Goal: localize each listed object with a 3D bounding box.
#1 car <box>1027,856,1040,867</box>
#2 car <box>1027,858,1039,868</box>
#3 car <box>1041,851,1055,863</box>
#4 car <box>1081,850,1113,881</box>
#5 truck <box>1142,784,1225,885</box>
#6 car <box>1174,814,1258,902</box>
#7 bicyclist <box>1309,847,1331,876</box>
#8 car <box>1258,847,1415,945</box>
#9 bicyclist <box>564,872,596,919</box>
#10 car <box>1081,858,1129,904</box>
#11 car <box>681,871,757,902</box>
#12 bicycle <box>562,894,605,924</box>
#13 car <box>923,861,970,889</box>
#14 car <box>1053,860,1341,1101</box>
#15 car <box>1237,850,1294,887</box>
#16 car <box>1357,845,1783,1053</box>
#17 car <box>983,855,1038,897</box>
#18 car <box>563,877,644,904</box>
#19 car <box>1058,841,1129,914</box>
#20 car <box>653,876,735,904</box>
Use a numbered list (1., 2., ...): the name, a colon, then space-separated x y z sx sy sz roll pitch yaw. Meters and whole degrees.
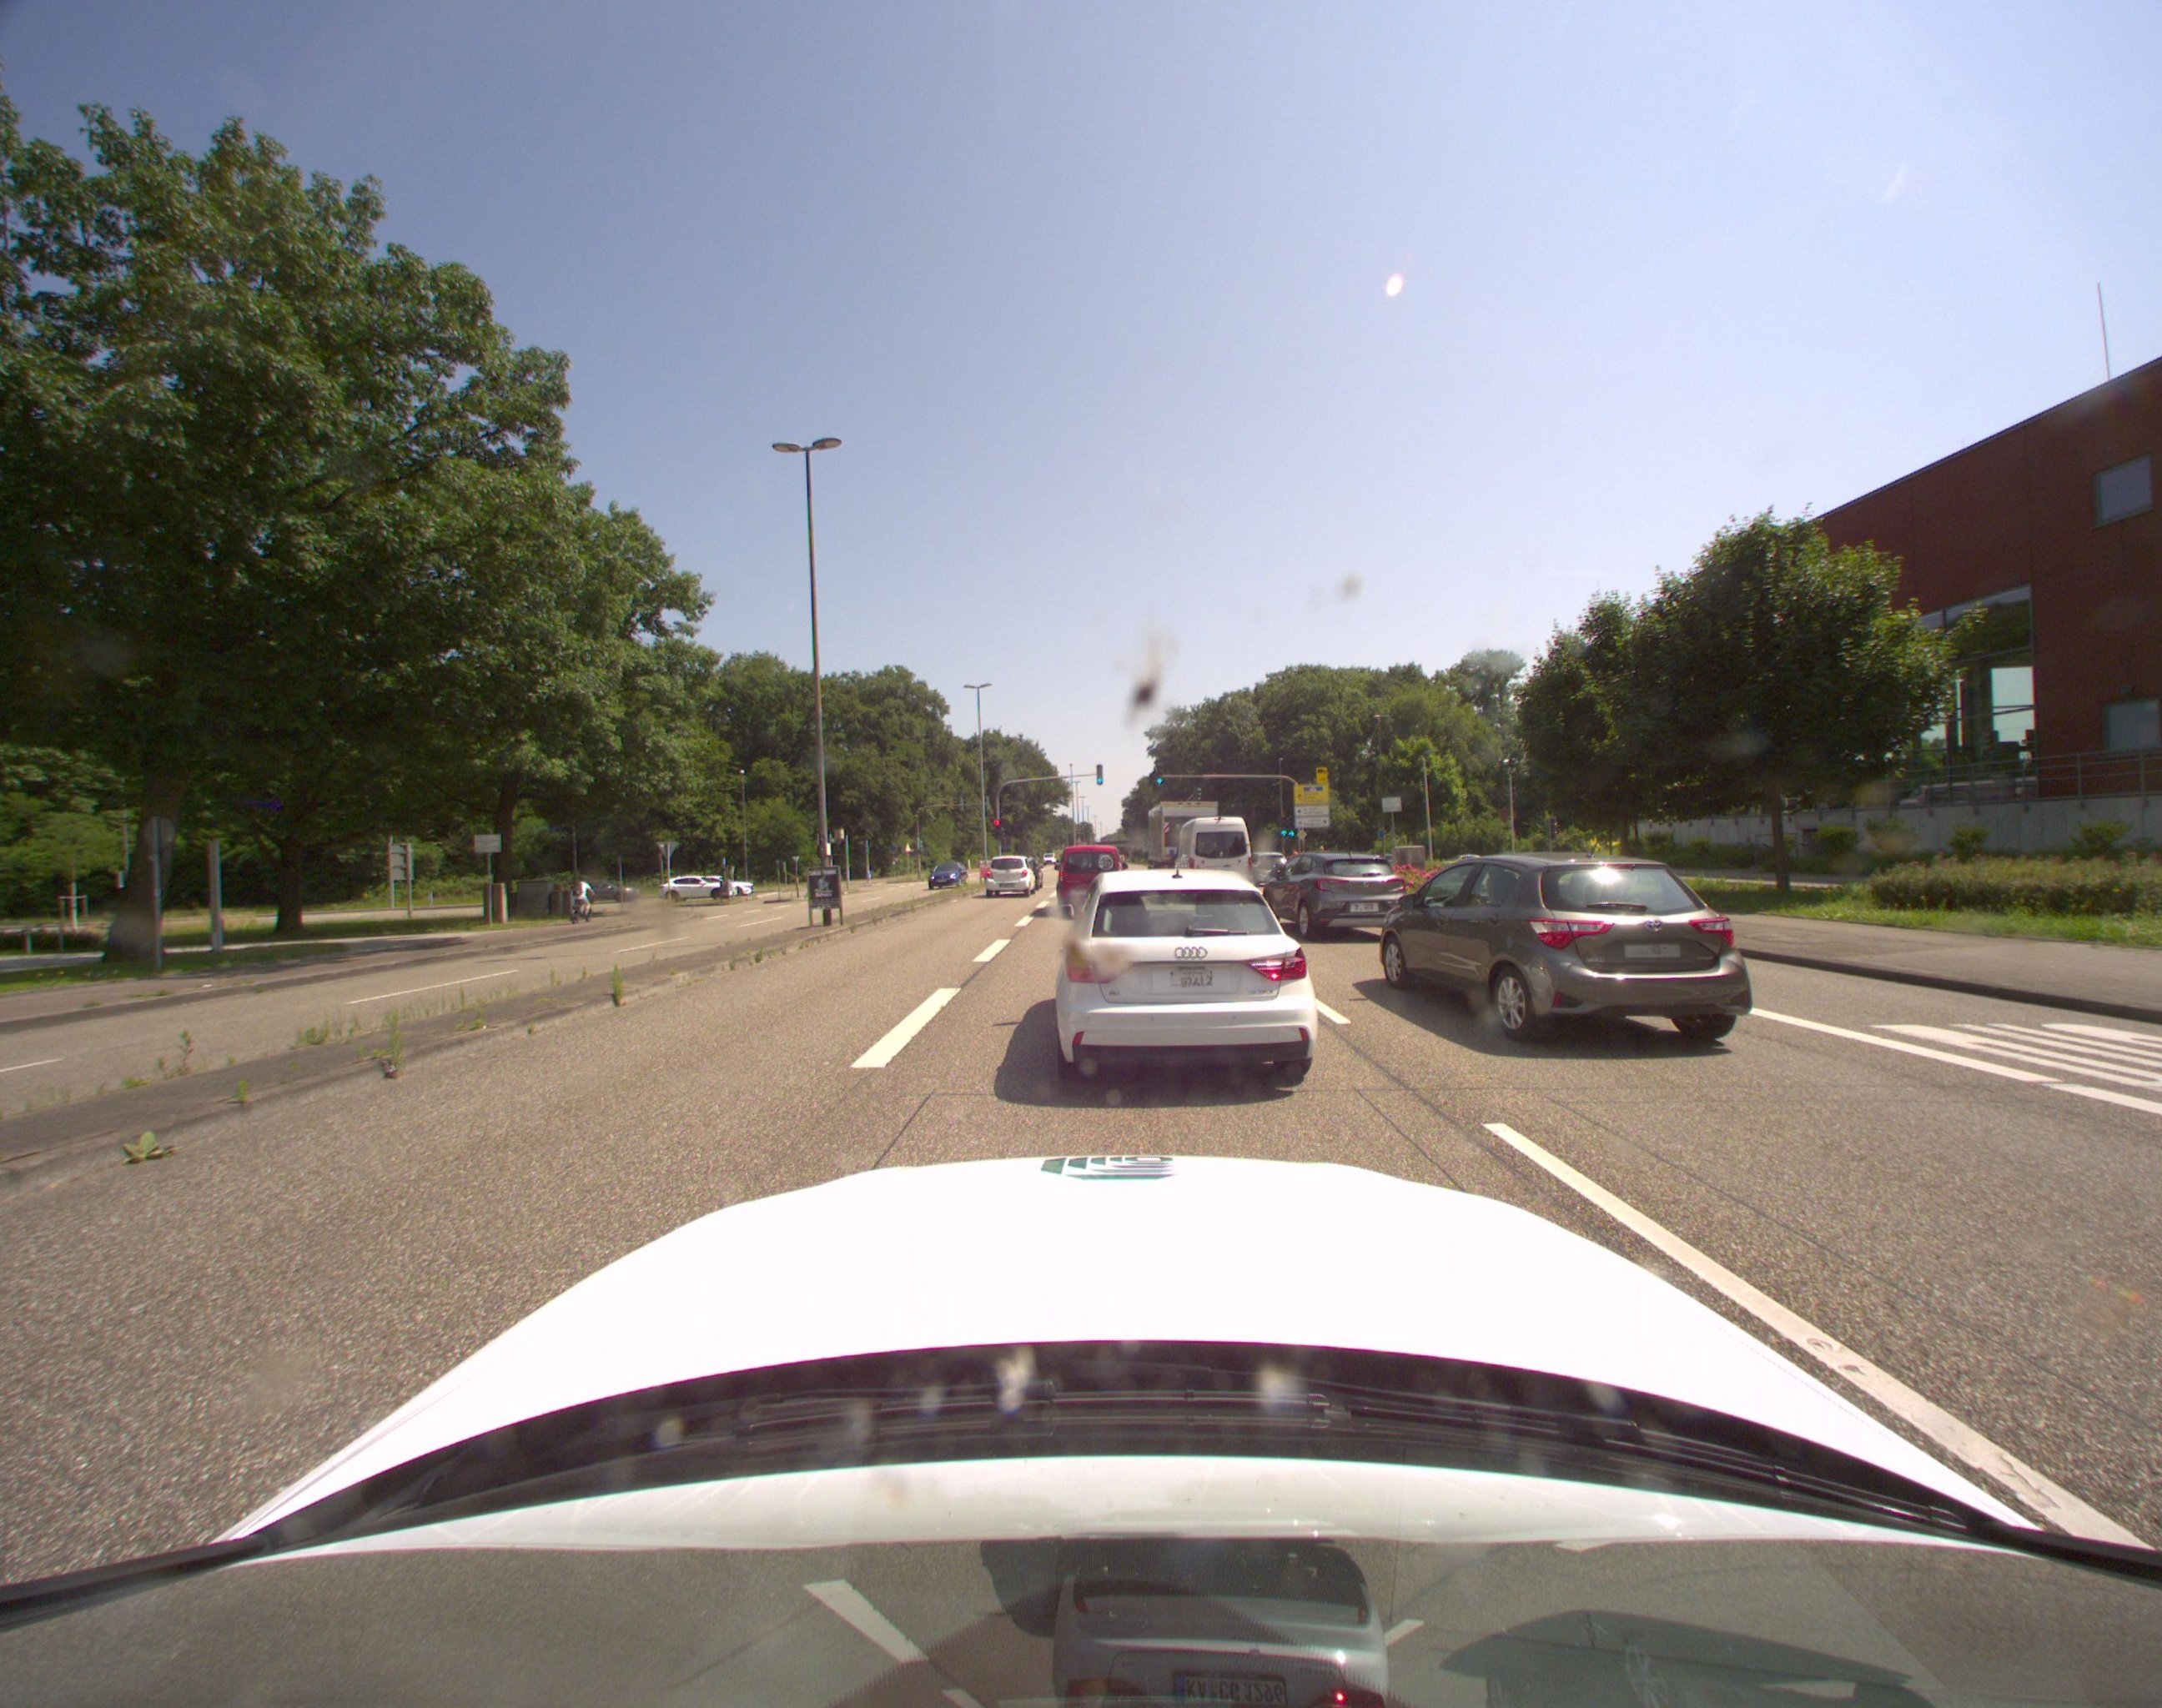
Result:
1. car: -8.437 1.360 144.023 1.866 1.861 4.000 -2 0 1
2. car: -8.505 1.612 144.166 1.824 1.728 4.001 -2 0 1
3. car: -5.347 0.443 131.893 1.866 1.861 4.000 -2 0 1
4. car: 0.885 0.622 46.452 1.706 1.631 4.091 -1 0 0
5. truck: 4.963 -0.873 41.900 3.077 4.434 11.584 -1 0 2
6. car: 4.374 0.129 27.171 2.024 2.644 4.845 -1 0 1
7. bicyclist: 12.241 0.367 41.665 0.603 1.439 0.819 -2 0 -43
8. car: 4.677 0.692 15.541 1.706 1.593 4.091 -1 0 0
9. bicyclist: -18.110 1.495 29.449 0.607 1.630 0.922 -2 0 -5
10. car: 0.886 1.004 31.987 1.706 1.631 4.091 -1 0 0
11. car: -25.019 2.234 56.421 4.367 1.681 1.806 -6 0 -7
12. bicycle: -18.096 1.983 29.653 0.616 0.969 1.657 -2 0 -5
13. car: -7.542 1.151 46.012 1.798 1.335 4.000 -6 0 1
14. car: 0.702 0.772 6.950 1.706 1.386 4.091 -1 0 0
15. car: 8.424 0.629 37.478 1.706 1.546 4.091 -1 0 0
16. car: 4.250 0.694 7.963 1.706 1.478 4.091 1 0 0
17. car: -2.657 0.805 31.463 1.706 1.493 4.091 -1 0 0
18. car: -32.643 2.480 55.777 4.371 1.681 1.804 0 -1 -10
19. car: 0.310 0.583 22.105 1.706 1.748 4.091 -1 0 0
20. car: -24.928 2.324 52.597 4.366 1.681 1.806 0 -1 -7
